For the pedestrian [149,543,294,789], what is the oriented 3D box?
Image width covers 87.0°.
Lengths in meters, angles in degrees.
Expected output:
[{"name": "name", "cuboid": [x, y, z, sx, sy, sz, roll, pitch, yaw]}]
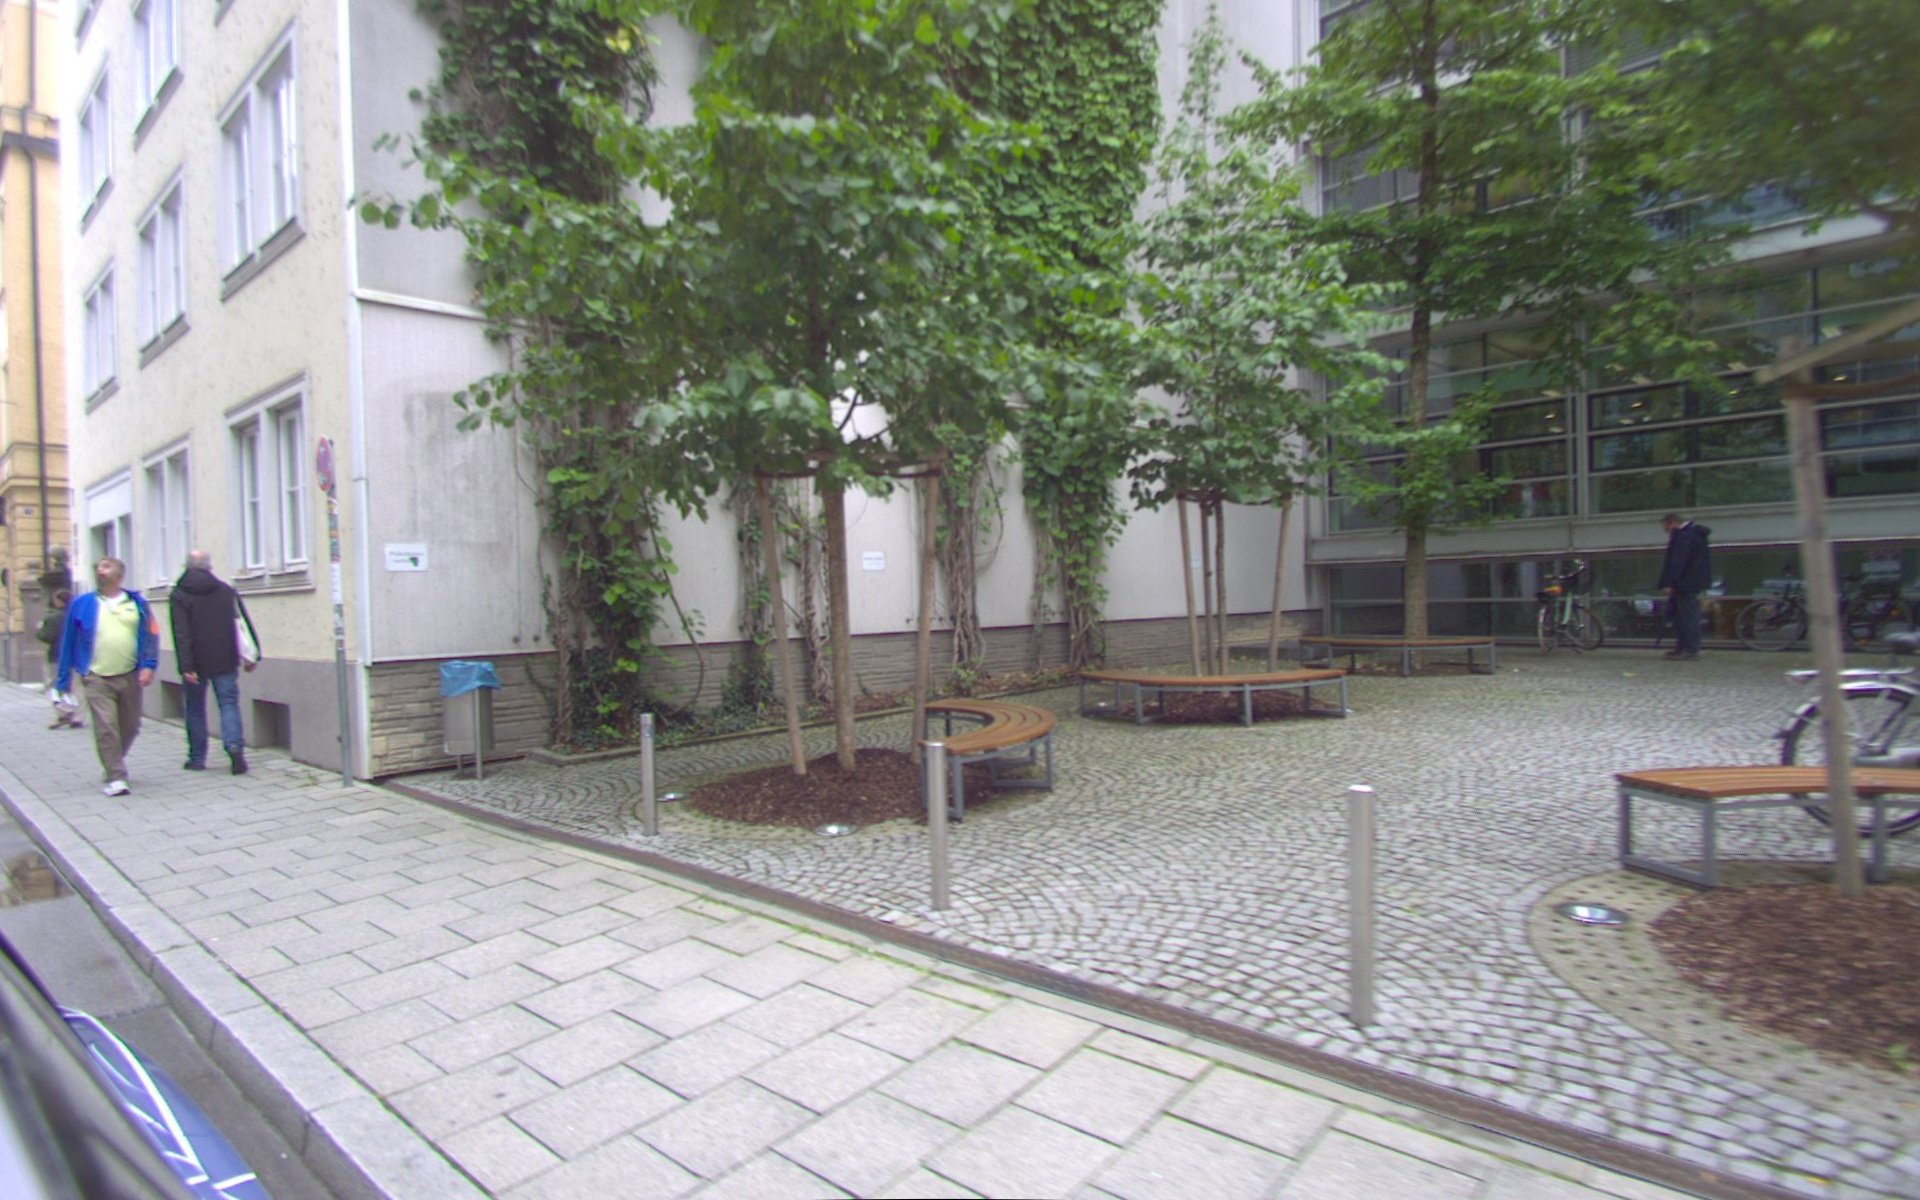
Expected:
[{"name": "pedestrian", "cuboid": [-6.216, 0.499, 8.533, 0.856, 1.895, 1.137, -3, 1, -37]}]

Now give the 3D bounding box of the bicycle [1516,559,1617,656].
[{"name": "bicycle", "cuboid": [8.255, 0.077, 13.743, 1.756, 1.206, 0.691, -3, 1, -43]}]

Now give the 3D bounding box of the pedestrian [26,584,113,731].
[{"name": "pedestrian", "cuboid": [-10.787, 0.675, 12.257, 0.723, 1.689, 0.640, -2, 1, 41]}]

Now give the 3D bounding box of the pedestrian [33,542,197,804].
[{"name": "pedestrian", "cuboid": [-6.567, 0.514, 7.859, 1.076, 1.868, 0.749, -2, 2, 42]}]

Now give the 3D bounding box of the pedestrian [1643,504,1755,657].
[{"name": "pedestrian", "cuboid": [9.047, -0.237, 12.405, 0.668, 1.790, 0.926, -3, 1, -39]}]

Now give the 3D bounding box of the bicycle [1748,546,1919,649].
[{"name": "bicycle", "cuboid": [10.917, -0.023, 12.500, 0.543, 1.206, 1.784, -3, 1, -42]}]

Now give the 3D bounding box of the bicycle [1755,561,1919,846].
[{"name": "bicycle", "cuboid": [4.684, 0.419, 4.388, 1.823, 1.206, 0.548, -2, 1, 20]}]
